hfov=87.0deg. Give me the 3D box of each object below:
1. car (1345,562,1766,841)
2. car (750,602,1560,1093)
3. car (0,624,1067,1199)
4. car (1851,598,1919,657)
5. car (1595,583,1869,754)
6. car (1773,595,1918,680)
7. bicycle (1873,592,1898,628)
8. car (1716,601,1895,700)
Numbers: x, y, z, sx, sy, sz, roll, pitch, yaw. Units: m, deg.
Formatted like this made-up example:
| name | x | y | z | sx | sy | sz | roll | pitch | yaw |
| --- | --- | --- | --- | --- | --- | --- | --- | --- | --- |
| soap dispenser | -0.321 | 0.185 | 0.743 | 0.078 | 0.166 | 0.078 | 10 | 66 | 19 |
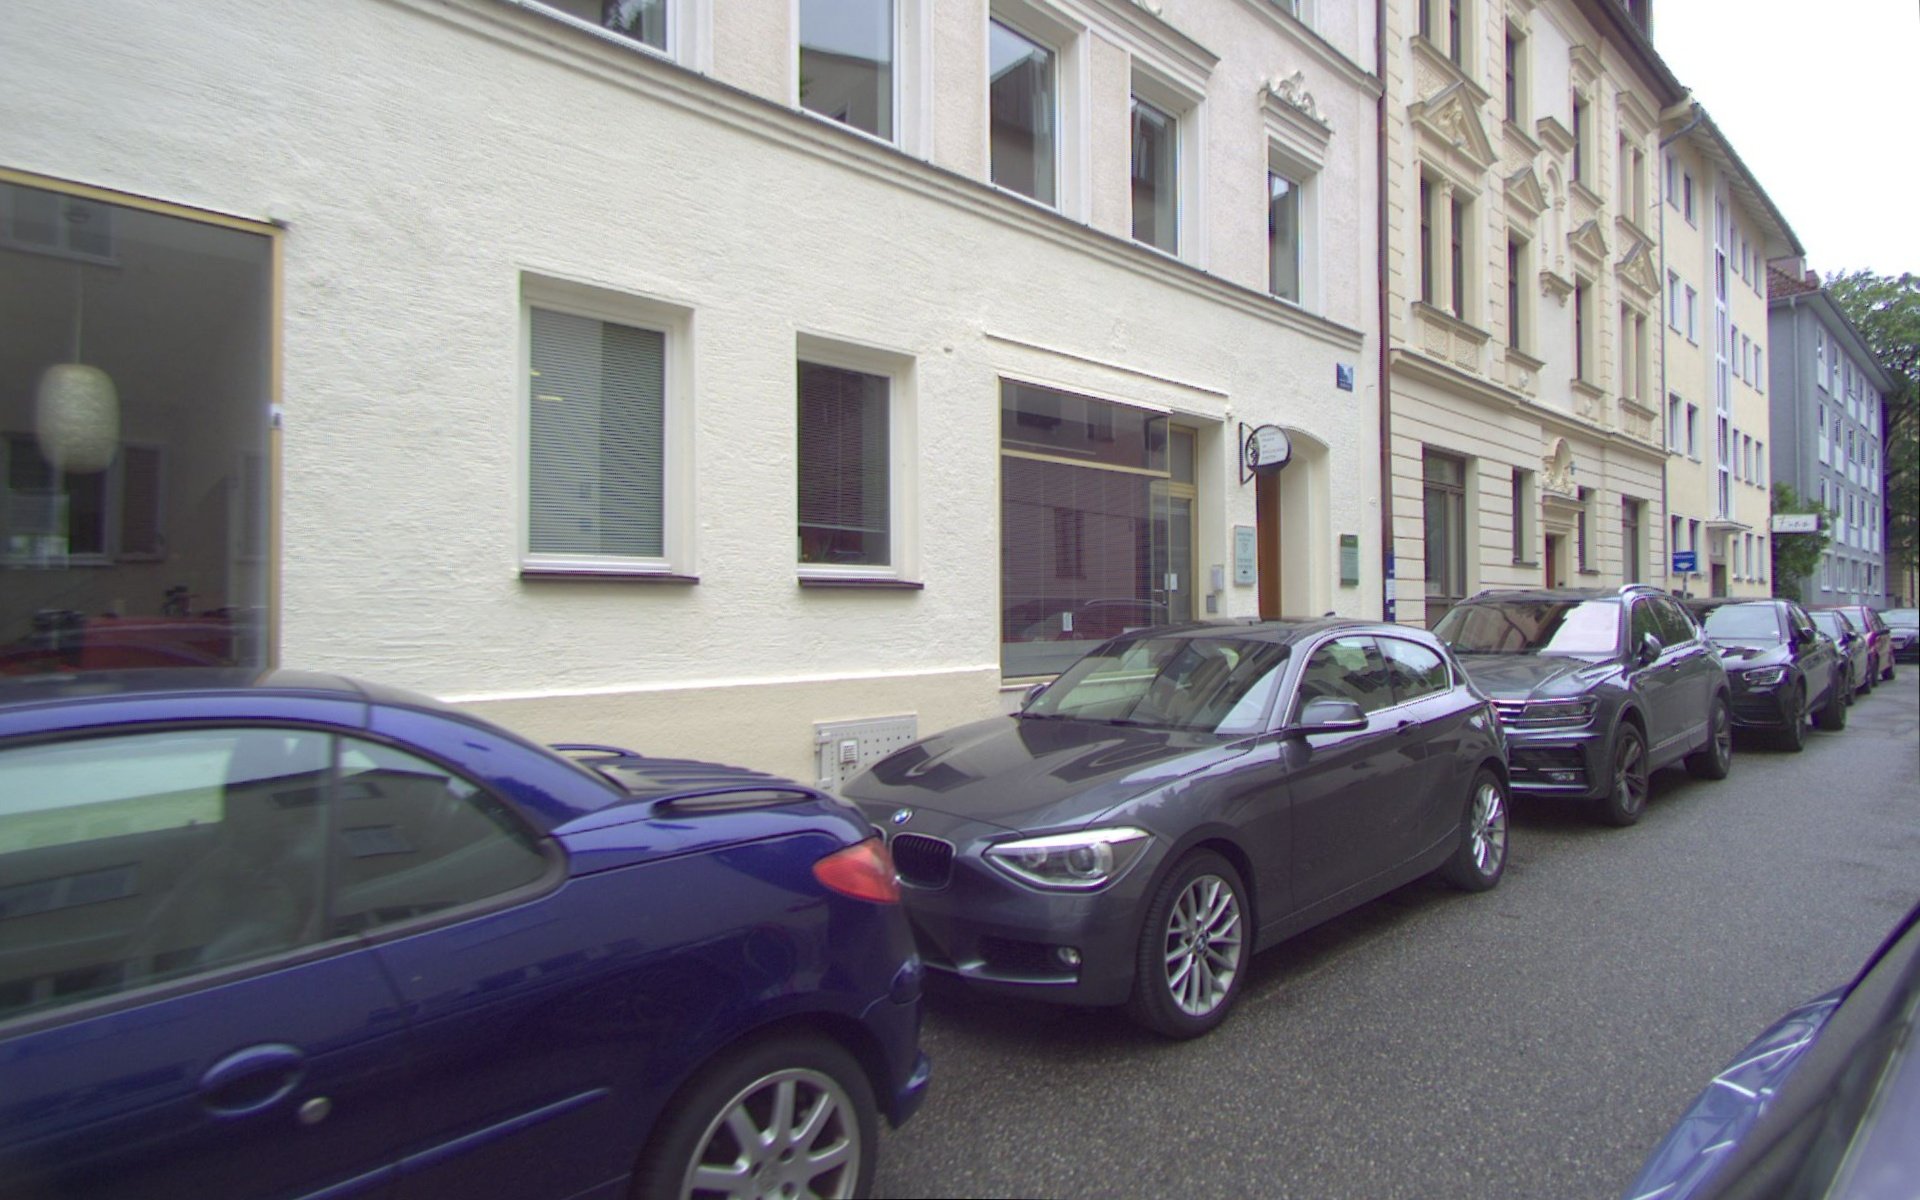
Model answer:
| name | x | y | z | sx | sy | sz | roll | pitch | yaw |
| --- | --- | --- | --- | --- | --- | --- | --- | --- | --- |
| car | 5.021 | 0.619 | 8.234 | 4.435 | 1.682 | 1.678 | 0 | -1 | -42 |
| car | 1.280 | 0.721 | 5.059 | 4.275 | 1.403 | 1.802 | 0 | 0 | -42 |
| car | -1.785 | 0.787 | 1.856 | 3.876 | 1.380 | 1.811 | 0 | 0 | -41 |
| car | 24.400 | 0.655 | 25.898 | 4.431 | 1.352 | 1.827 | 0 | -5 | -42 |
| car | 9.138 | 0.665 | 11.818 | 4.604 | 1.627 | 1.704 | 0 | -1 | -42 |
| car | 17.458 | 0.686 | 19.896 | 3.787 | 1.511 | 1.678 | 0 | -1 | -42 |
| bicycle | 38.977 | 0.418 | 42.616 | 2.240 | 1.505 | 0.515 | 0 | -1 | -41 |
| car | 13.865 | 0.738 | 16.513 | 3.995 | 1.411 | 1.678 | 0 | -1 | -42 |
